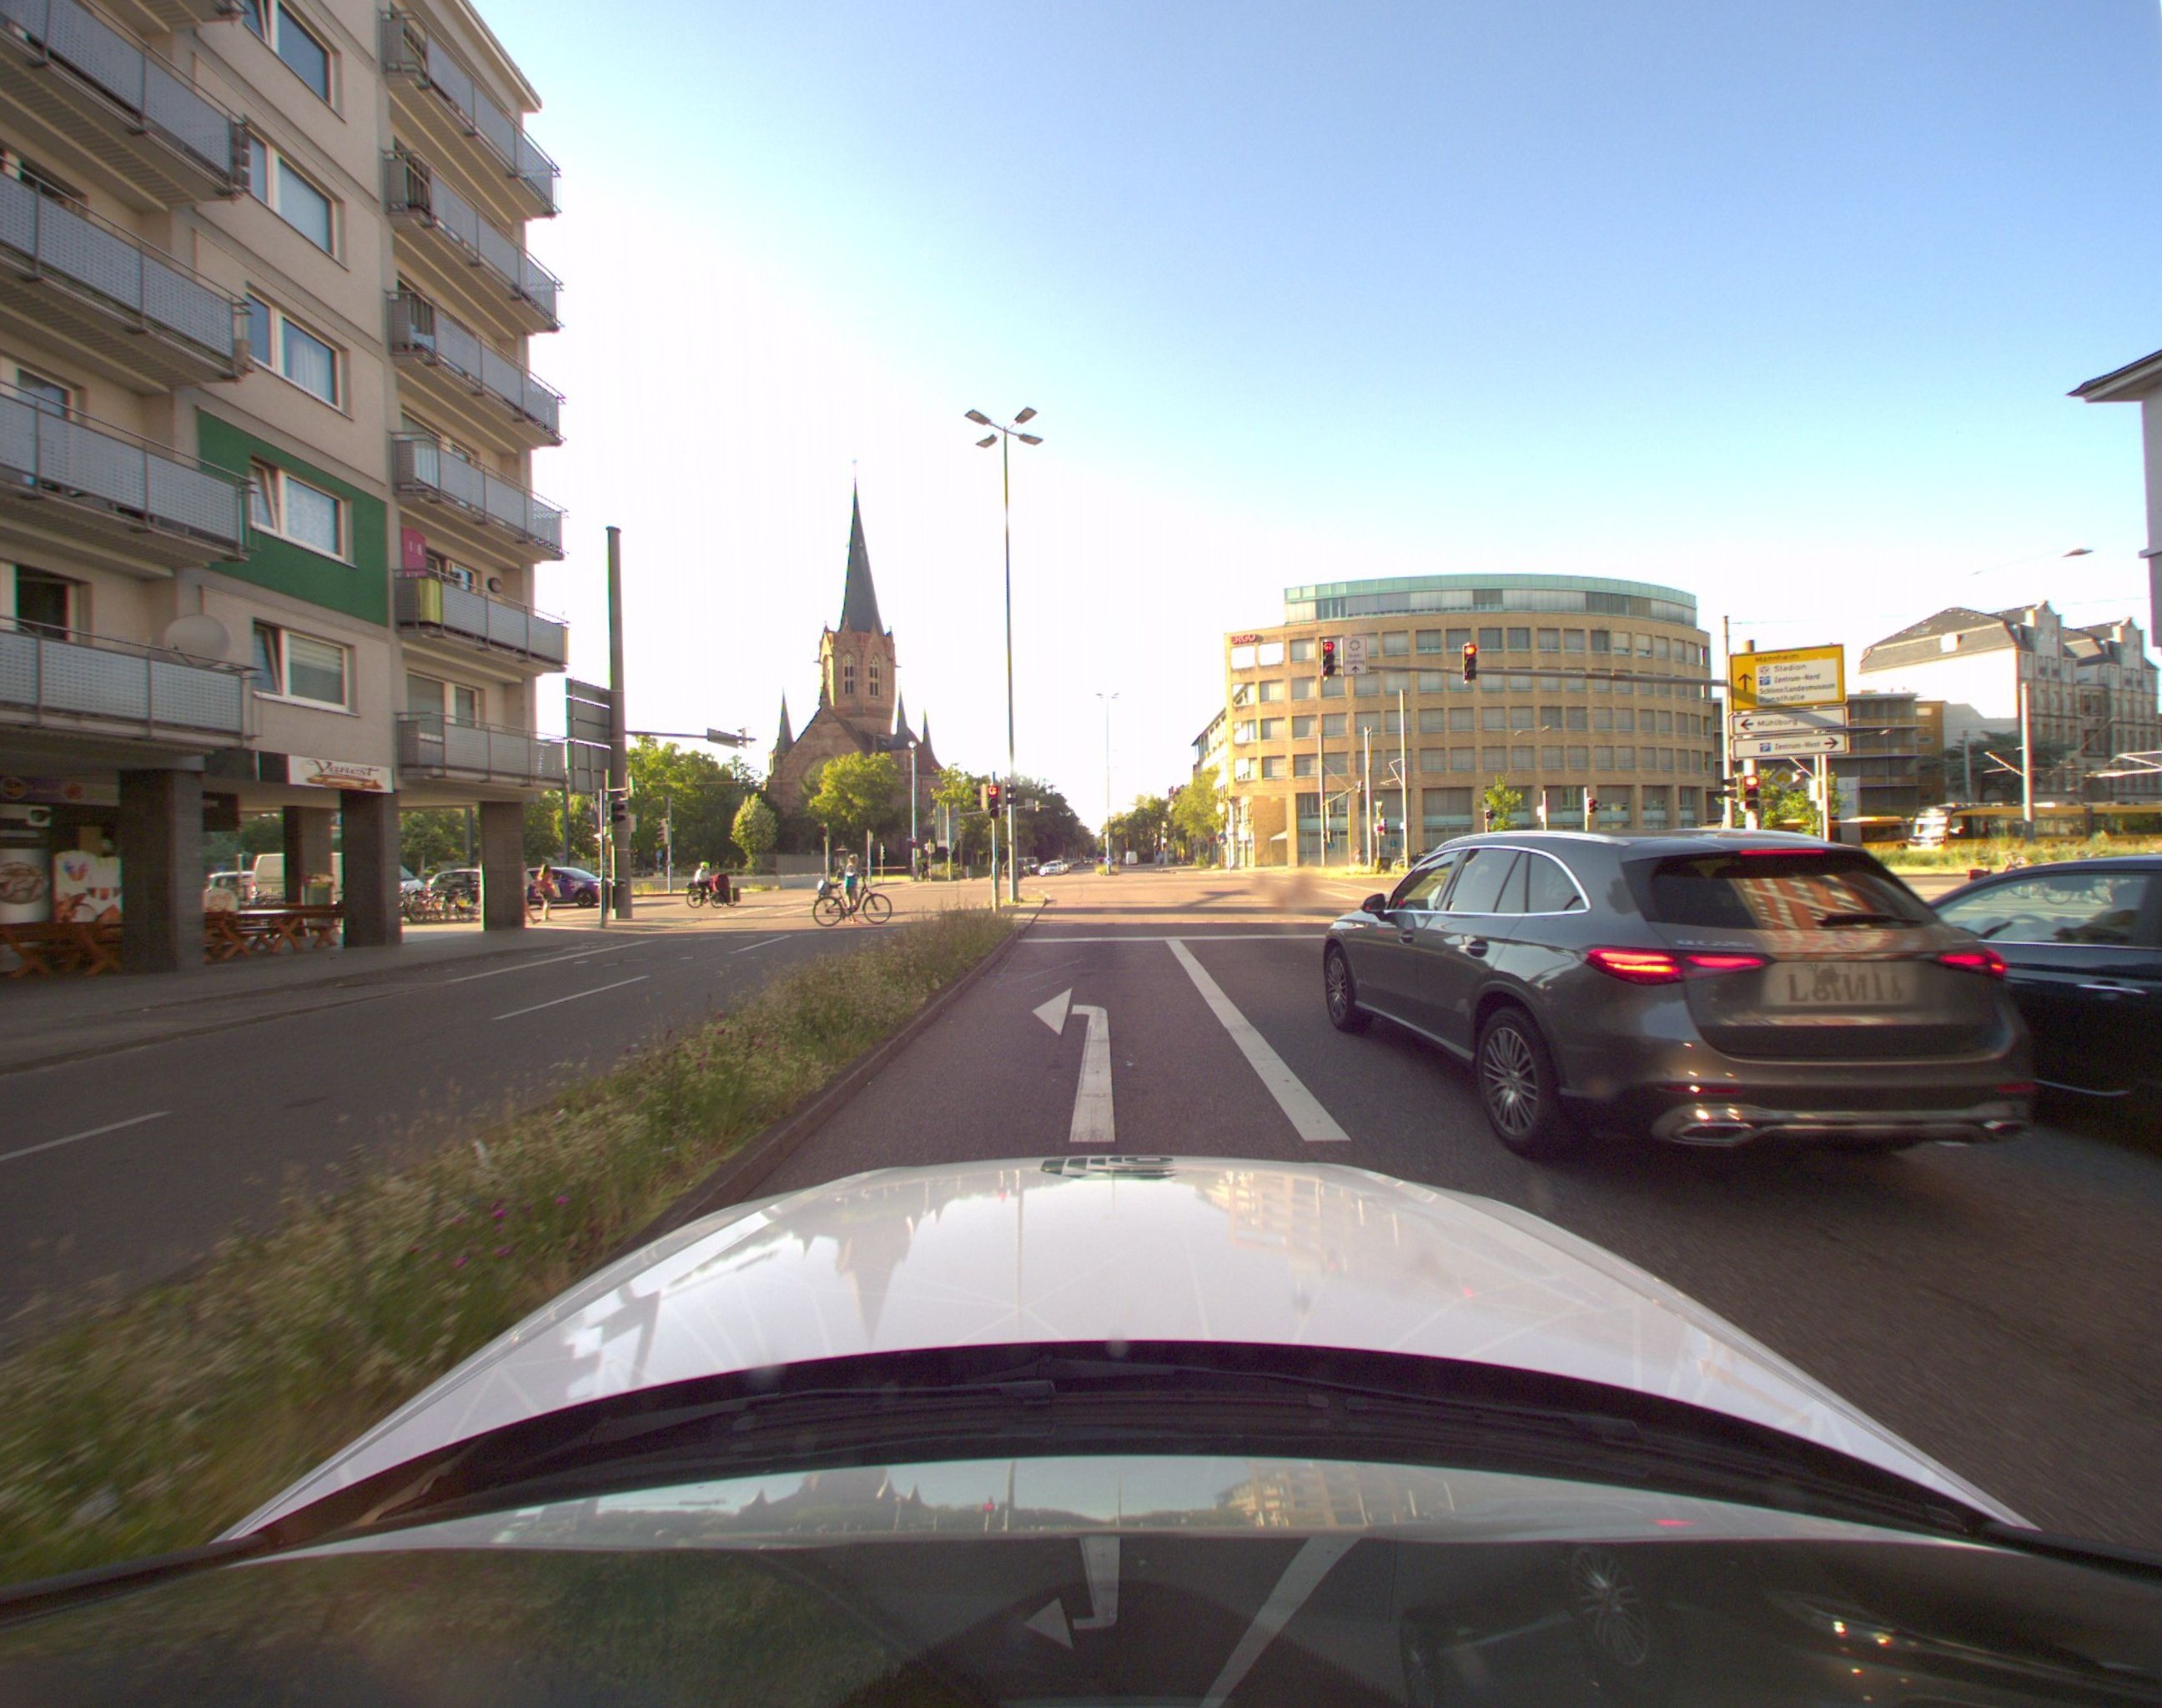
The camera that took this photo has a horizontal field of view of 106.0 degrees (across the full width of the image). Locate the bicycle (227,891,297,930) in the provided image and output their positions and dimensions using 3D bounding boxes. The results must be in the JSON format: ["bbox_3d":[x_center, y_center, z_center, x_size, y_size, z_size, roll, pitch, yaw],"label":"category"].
[{"bbox_3d":[-24.748,1.691,24.651,0.497,1.036,1.932,-2,0,-13],"label":"bicycle"}]

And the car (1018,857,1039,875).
[{"bbox_3d":[-5.418,1.213,84.375,1.773,1.704,4.002,-1,0,2],"label":"car"}]

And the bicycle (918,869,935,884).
[{"bbox_3d":[-12.282,1.760,64.631,0.650,1.139,1.662,-2,0,-35],"label":"bicycle"}]

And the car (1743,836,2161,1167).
[{"bbox_3d":[5.702,0.668,4.354,1.484,1.505,3.478,-2,0,0],"label":"car"}]

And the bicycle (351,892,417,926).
[{"bbox_3d":[-20.952,1.632,24.508,0.494,0.907,1.703,-2,0,0],"label":"bicycle"}]

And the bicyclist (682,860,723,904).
[{"bbox_3d":[-13.396,0.966,28.862,0.876,1.487,1.161,-2,0,-1],"label":"bicyclist"}]

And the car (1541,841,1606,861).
[{"bbox_3d":[35.407,-0.202,58.608,3.595,1.342,1.722,-2,0,1],"label":"car"}]

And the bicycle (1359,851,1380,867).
[{"bbox_3d":[22.717,0.412,64.116,1.511,1.172,0.476,-2,0,7],"label":"bicycle"}]

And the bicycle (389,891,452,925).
[{"bbox_3d":[-19.868,1.604,24.533,0.494,0.907,1.703,-2,0,0],"label":"bicycle"}]

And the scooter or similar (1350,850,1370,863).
[{"bbox_3d":[22.252,0.231,64.949,1.393,1.001,0.476,-2,0,7],"label":"scooter or similar"}]

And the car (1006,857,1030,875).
[{"bbox_3d":[-5.903,1.127,76.979,1.773,1.647,4.002,-1,0,2],"label":"car"}]

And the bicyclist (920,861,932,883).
[{"bbox_3d":[-12.265,1.441,64.604,0.644,1.694,0.774,-1,0,-35],"label":"bicyclist"}]

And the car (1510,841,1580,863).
[{"bbox_3d":[35.197,-0.168,61.836,4.218,1.502,1.998,-2,0,-2],"label":"car"}]

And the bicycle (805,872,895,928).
[{"bbox_3d":[-5.327,1.055,18.829,1.821,1.188,0.734,-2,0,-1],"label":"bicycle"}]

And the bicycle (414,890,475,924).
[{"bbox_3d":[-19.244,1.578,24.664,0.494,0.907,1.703,-2,0,0],"label":"bicycle"}]

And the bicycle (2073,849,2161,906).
[{"bbox_3d":[22.871,0.489,17.549,2.079,1.116,0.742,-2,0,-1],"label":"bicycle"}]

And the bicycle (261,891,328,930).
[{"bbox_3d":[-23.789,1.679,24.681,0.497,1.036,1.932,-2,0,-13],"label":"bicycle"}]

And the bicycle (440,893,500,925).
[{"bbox_3d":[-18.461,1.636,24.632,0.494,0.840,1.703,-2,0,0],"label":"bicycle"}]

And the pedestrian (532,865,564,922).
[{"bbox_3d":[-15.683,1.142,23.954,0.464,1.642,0.579,-2,0,21],"label":"pedestrian"}]

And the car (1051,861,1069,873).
[{"bbox_3d":[-2.273,1.397,90.230,1.773,1.236,4.002,-1,0,2],"label":"car"}]

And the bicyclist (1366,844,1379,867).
[{"bbox_3d":[22.873,0.131,63.920,0.786,1.736,0.476,-2,0,8],"label":"bicyclist"}]

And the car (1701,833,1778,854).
[{"bbox_3d":[47.703,-0.751,59.050,3.975,1.346,1.999,-2,0,-1],"label":"car"}]

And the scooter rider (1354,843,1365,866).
[{"bbox_3d":[22.221,0.072,64.963,0.676,1.814,0.476,-2,0,8],"label":"scooter rider"}]

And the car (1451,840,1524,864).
[{"bbox_3d":[29.172,-0.135,58.520,4.212,1.614,2.001,-2,0,2],"label":"car"}]

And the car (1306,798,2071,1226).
[{"bbox_3d":[3.014,0.614,5.444,1.778,1.632,4.478,-2,0,0],"label":"car"}]

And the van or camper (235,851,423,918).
[{"bbox_3d":[-29.445,1.153,32.010,5.400,2.416,2.166,-2,0,1],"label":"van or camper"}]

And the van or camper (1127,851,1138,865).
[{"bbox_3d":[9.815,0.793,155.977,1.985,2.640,5.354,-2,0,3],"label":"van or camper"}]

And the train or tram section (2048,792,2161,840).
[{"bbox_3d":[81.724,-2.943,61.563,19.944,3.177,3.678,-2,0,-18],"label":"train or tram section"}]

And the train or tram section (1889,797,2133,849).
[{"bbox_3d":[64.604,-2.159,56.545,17.125,3.177,3.683,-2,0,-14],"label":"train or tram section"}]

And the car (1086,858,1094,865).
[{"bbox_3d":[2.180,1.675,190.102,1.773,1.449,4.002,-1,0,2],"label":"car"}]

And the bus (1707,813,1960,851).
[{"bbox_3d":[57.643,-1.680,62.498,18.129,2.436,2.420,-2,0,-4],"label":"bus"}]

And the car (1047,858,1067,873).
[{"bbox_3d":[-2.462,1.169,82.969,1.773,1.464,4.002,-1,0,2],"label":"car"}]

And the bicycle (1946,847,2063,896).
[{"bbox_3d":[23.024,0.425,20.326,2.079,1.116,0.742,-2,0,-1],"label":"bicycle"}]

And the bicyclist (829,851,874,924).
[{"bbox_3d":[-5.402,0.779,19.208,0.780,1.660,0.900,-2,0,-1],"label":"bicyclist"}]

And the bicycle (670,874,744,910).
[{"bbox_3d":[-13.234,1.332,28.879,2.037,1.168,1.161,-2,0,-1],"label":"bicycle"}]

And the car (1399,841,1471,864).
[{"bbox_3d":[26.854,-0.101,61.915,4.634,1.598,1.999,-2,0,-2],"label":"car"}]

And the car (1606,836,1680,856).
[{"bbox_3d":[40.629,-0.557,58.904,3.975,1.346,1.999,-2,0,-1],"label":"car"}]

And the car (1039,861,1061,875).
[{"bbox_3d":[-2.890,1.293,76.397,1.773,1.236,4.002,-1,0,2],"label":"car"}]

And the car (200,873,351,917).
[{"bbox_3d":[-34.919,1.748,35.404,4.439,1.672,2.121,-2,0,1],"label":"car"}]

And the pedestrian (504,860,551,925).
[{"bbox_3d":[-14.987,1.042,22.045,0.749,1.709,0.676,-2,0,9],"label":"pedestrian"}]

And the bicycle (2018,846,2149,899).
[{"bbox_3d":[23.083,0.422,18.774,2.079,1.116,0.742,-2,0,-1],"label":"bicycle"}]

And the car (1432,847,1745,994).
[{"bbox_3d":[5.789,0.654,9.856,1.579,1.446,3.648,0,0,1],"label":"car"}]

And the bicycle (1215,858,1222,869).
[{"bbox_3d":[15.810,1.081,93.844,0.769,1.195,2.471,-2,0,9],"label":"bicycle"}]

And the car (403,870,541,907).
[{"bbox_3d":[-26.453,1.482,35.501,4.469,1.409,1.960,-2,0,0],"label":"car"}]

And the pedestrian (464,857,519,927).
[{"bbox_3d":[-15.371,0.978,21.258,0.917,1.758,0.676,-2,0,9],"label":"pedestrian"}]

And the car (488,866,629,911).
[{"bbox_3d":[-20.709,1.339,32.373,4.385,1.573,1.837,-2,0,2],"label":"car"}]
